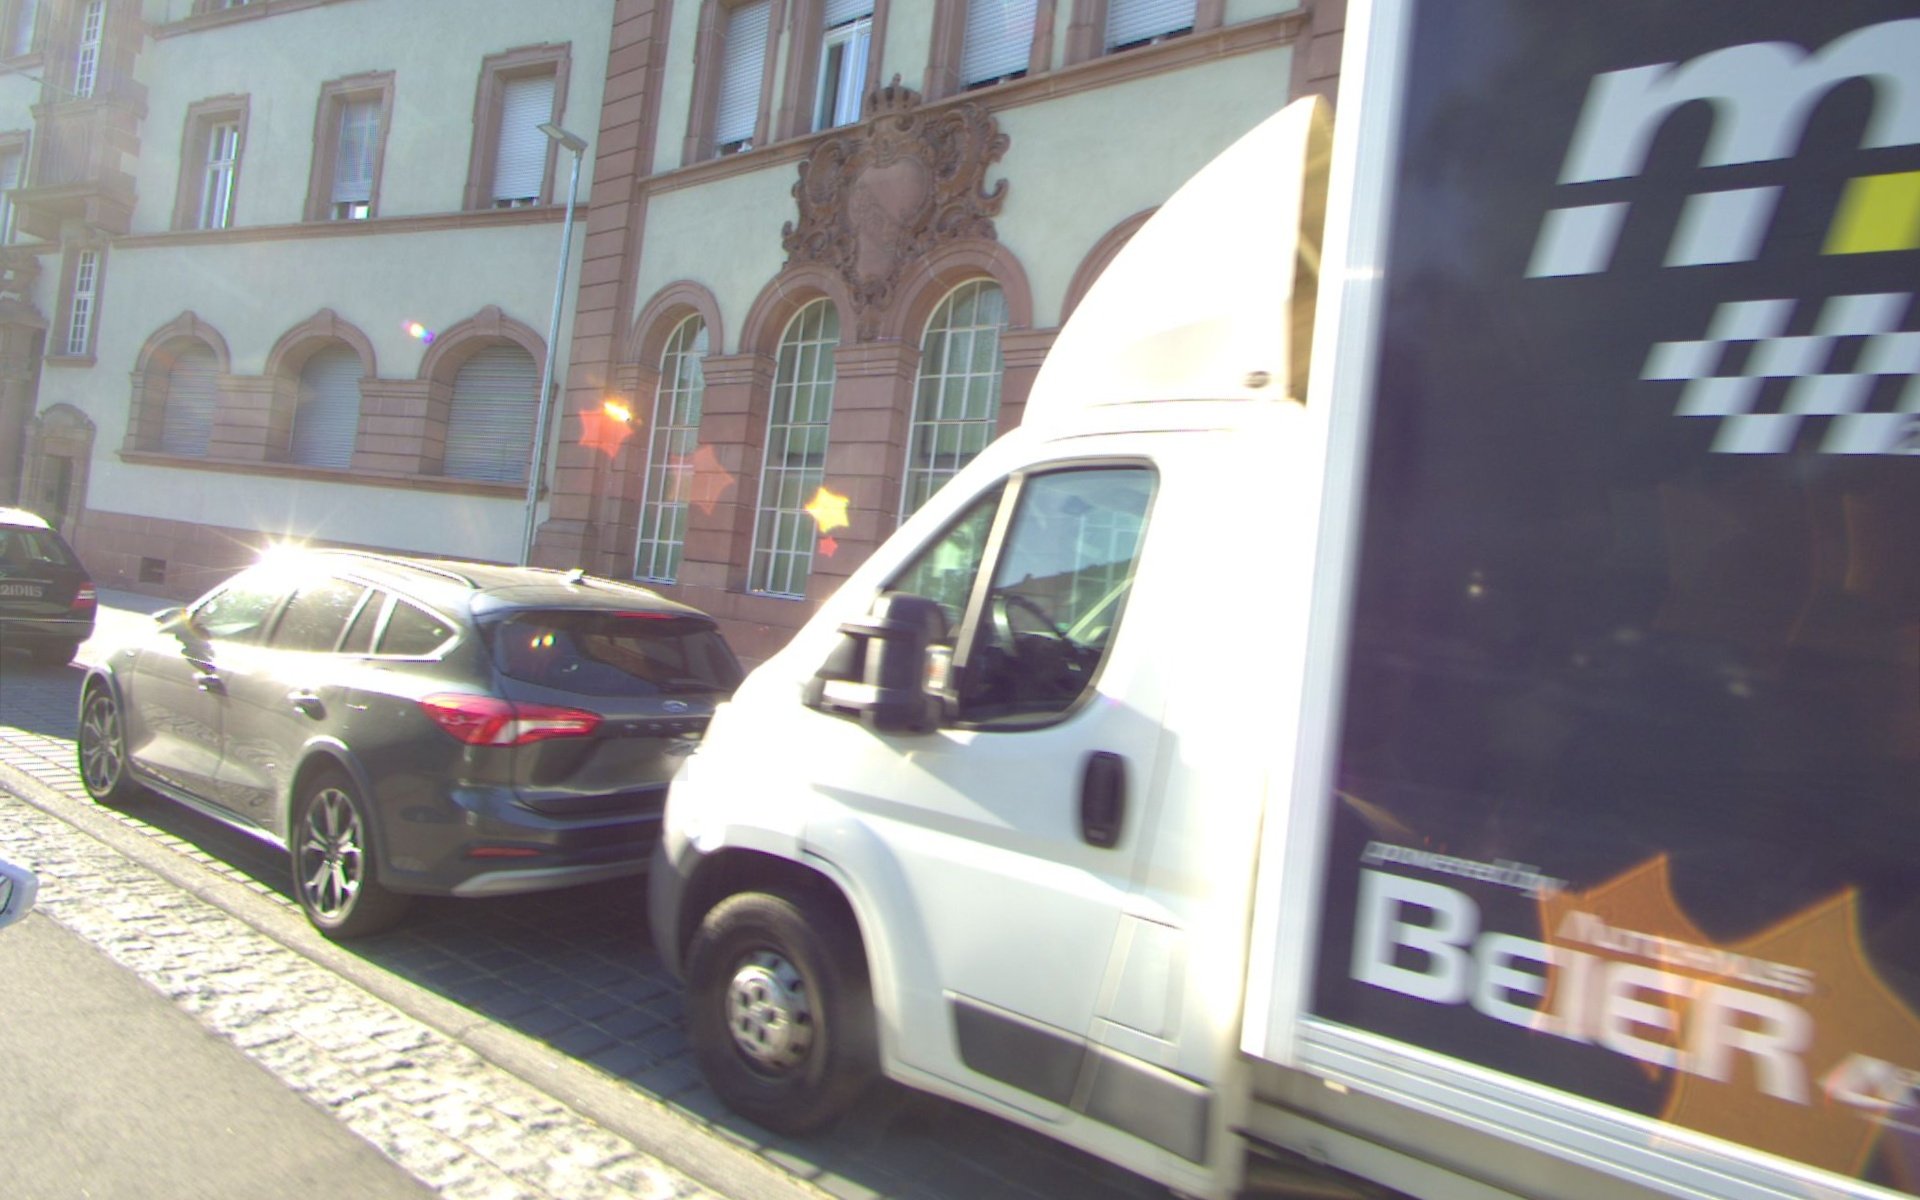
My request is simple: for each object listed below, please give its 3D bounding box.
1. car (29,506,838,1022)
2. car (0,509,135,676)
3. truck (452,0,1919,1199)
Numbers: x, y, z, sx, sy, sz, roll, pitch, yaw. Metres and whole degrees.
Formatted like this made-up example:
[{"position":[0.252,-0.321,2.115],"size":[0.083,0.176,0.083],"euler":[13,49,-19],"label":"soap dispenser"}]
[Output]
[{"position":[-2.994,0.486,5.314],"size":[4.499,1.549,1.769],"euler":[6,0,34],"label":"car"},{"position":[-10.400,-0.264,9.968],"size":[4.445,1.454,1.875],"euler":[6,0,29],"label":"car"},{"position":[1.798,0.216,2.626],"size":[5.986,3.160,2.626],"euler":[6,0,32],"label":"truck"}]
